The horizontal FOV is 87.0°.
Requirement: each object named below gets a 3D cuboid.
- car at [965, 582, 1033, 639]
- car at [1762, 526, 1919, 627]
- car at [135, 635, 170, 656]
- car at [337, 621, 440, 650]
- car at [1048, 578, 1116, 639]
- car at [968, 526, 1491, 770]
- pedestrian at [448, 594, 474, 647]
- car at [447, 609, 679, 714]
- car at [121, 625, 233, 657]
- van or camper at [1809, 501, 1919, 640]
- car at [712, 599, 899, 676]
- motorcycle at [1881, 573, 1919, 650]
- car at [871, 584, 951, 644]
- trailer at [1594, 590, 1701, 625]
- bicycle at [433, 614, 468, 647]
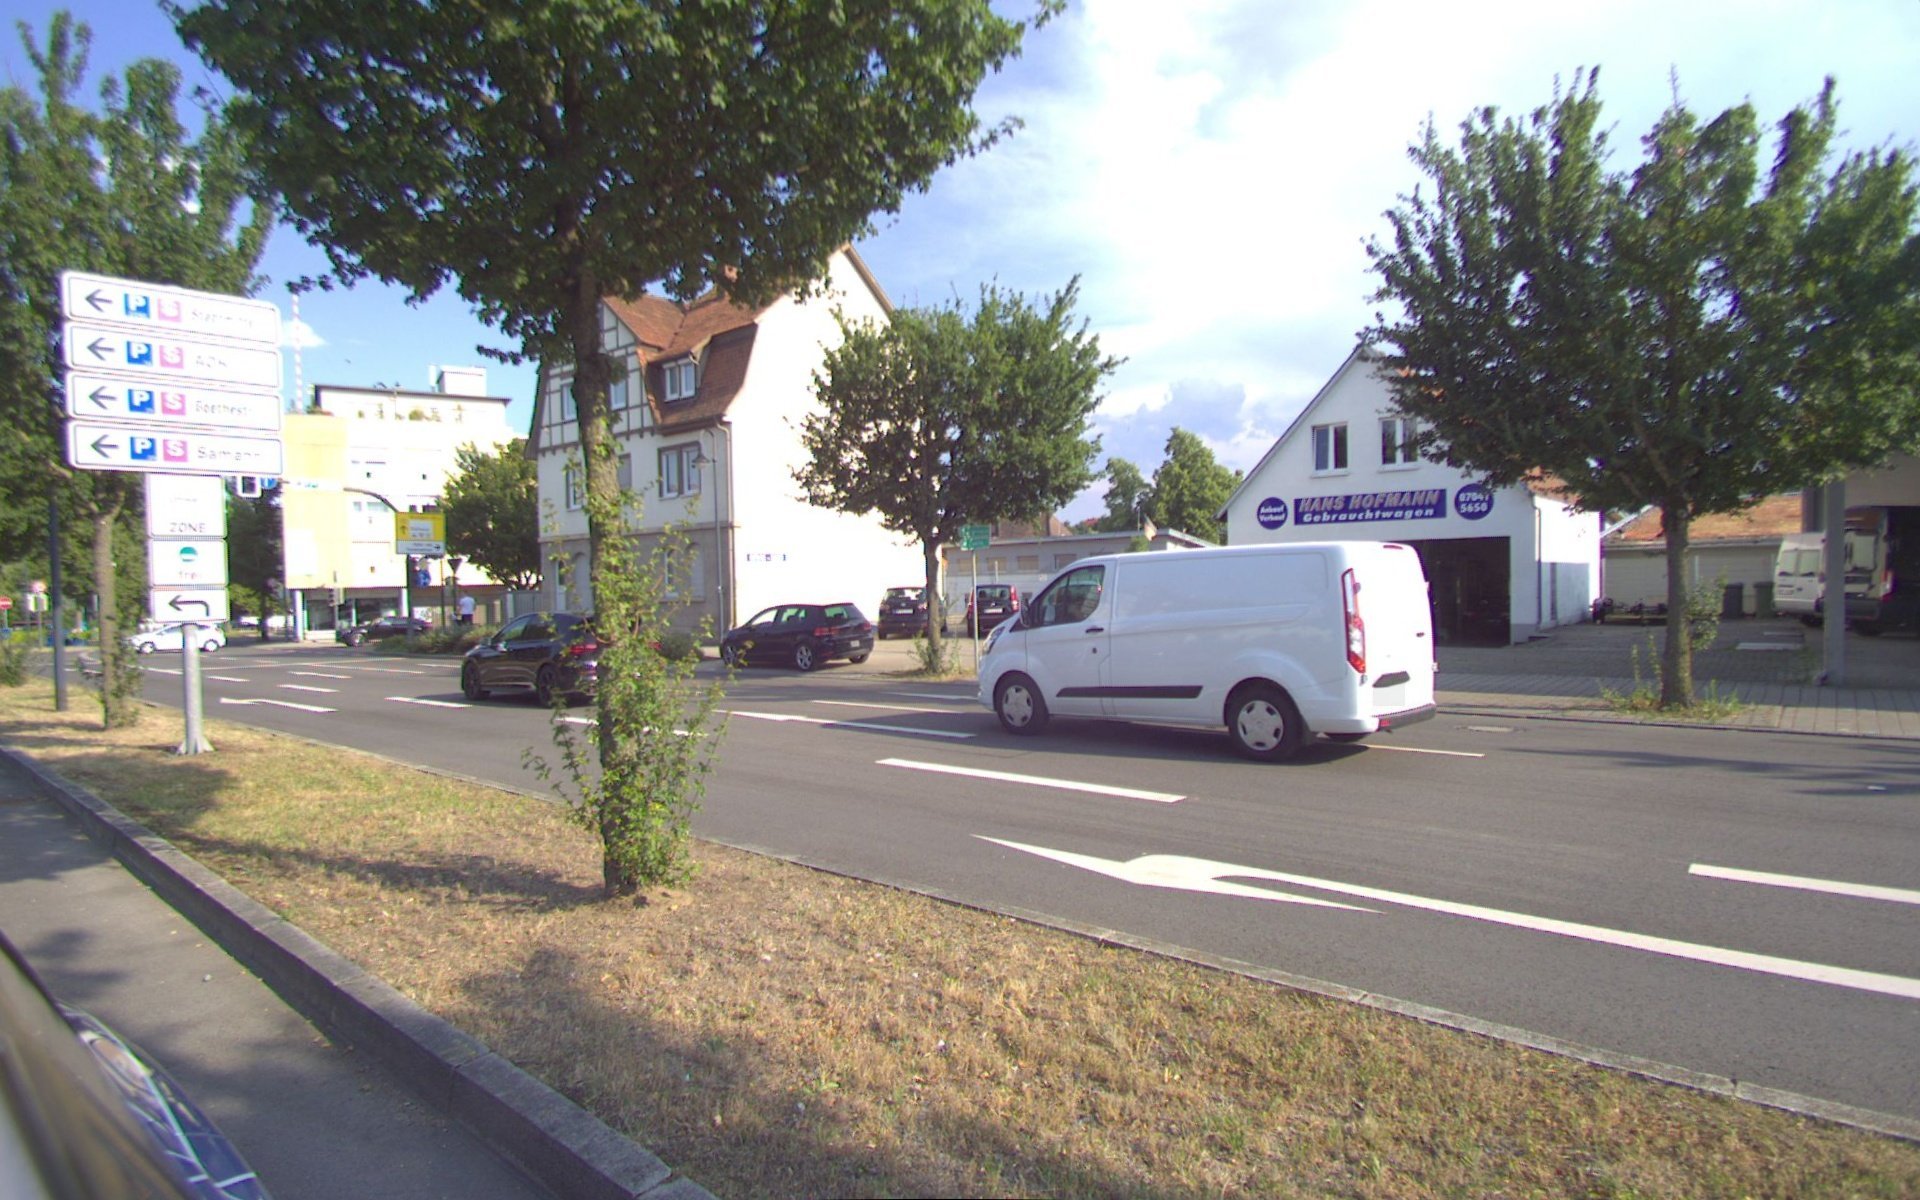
[{"bbox_3d":[1.222,0.293,30.171,1.746,1.563,3.992,-1,0,6],"label":"car"},{"bbox_3d":[22.168,-0.565,24.092,4.324,2.266,2.201,-1,0,0],"label":"car"},{"bbox_3d":[-62.245,3.485,78.011,1.738,1.364,4.173,-1,0,-34],"label":"car"},{"bbox_3d":[-31.194,1.916,55.314,4.595,1.364,1.770,-1,0,-41],"label":"car"},{"bbox_3d":[3.414,0.226,28.492,1.746,1.563,3.992,-1,0,6],"label":"car"},{"bbox_3d":[2.500,0.403,10.426,4.946,1.938,1.802,-1,0,44],"label":"car"},{"bbox_3d":[-18.898,0.764,38.320,0.588,1.997,0.690,-1,0,42],"label":"pedestrian"},{"bbox_3d":[-6.466,0.898,16.281,4.105,1.462,1.751,-1,0,41],"label":"car"},{"bbox_3d":[-38.111,1.981,49.321,1.767,1.364,4.073,-1,0,43],"label":"car"},{"bbox_3d":[20.750,-0.614,20.596,4.976,2.700,1.996,-1,0,6],"label":"van or camper"},{"bbox_3d":[-3.537,0.797,22.746,4.192,1.454,1.816,-1,3,41],"label":"car"},{"bbox_3d":[17.416,0.177,17.654,1.982,1.321,0.649,-1,0,4],"label":"motorcycle"},{"bbox_3d":[-1.401,0.356,30.461,1.746,1.563,3.993,-2,2,6],"label":"car"},{"bbox_3d":[20.517,0.208,30.157,2.448,0.831,3.152,-1,2,38],"label":"trailer"},{"bbox_3d":[-19.633,1.154,38.995,1.514,1.231,0.672,-1,0,42],"label":"bicycle"}]
